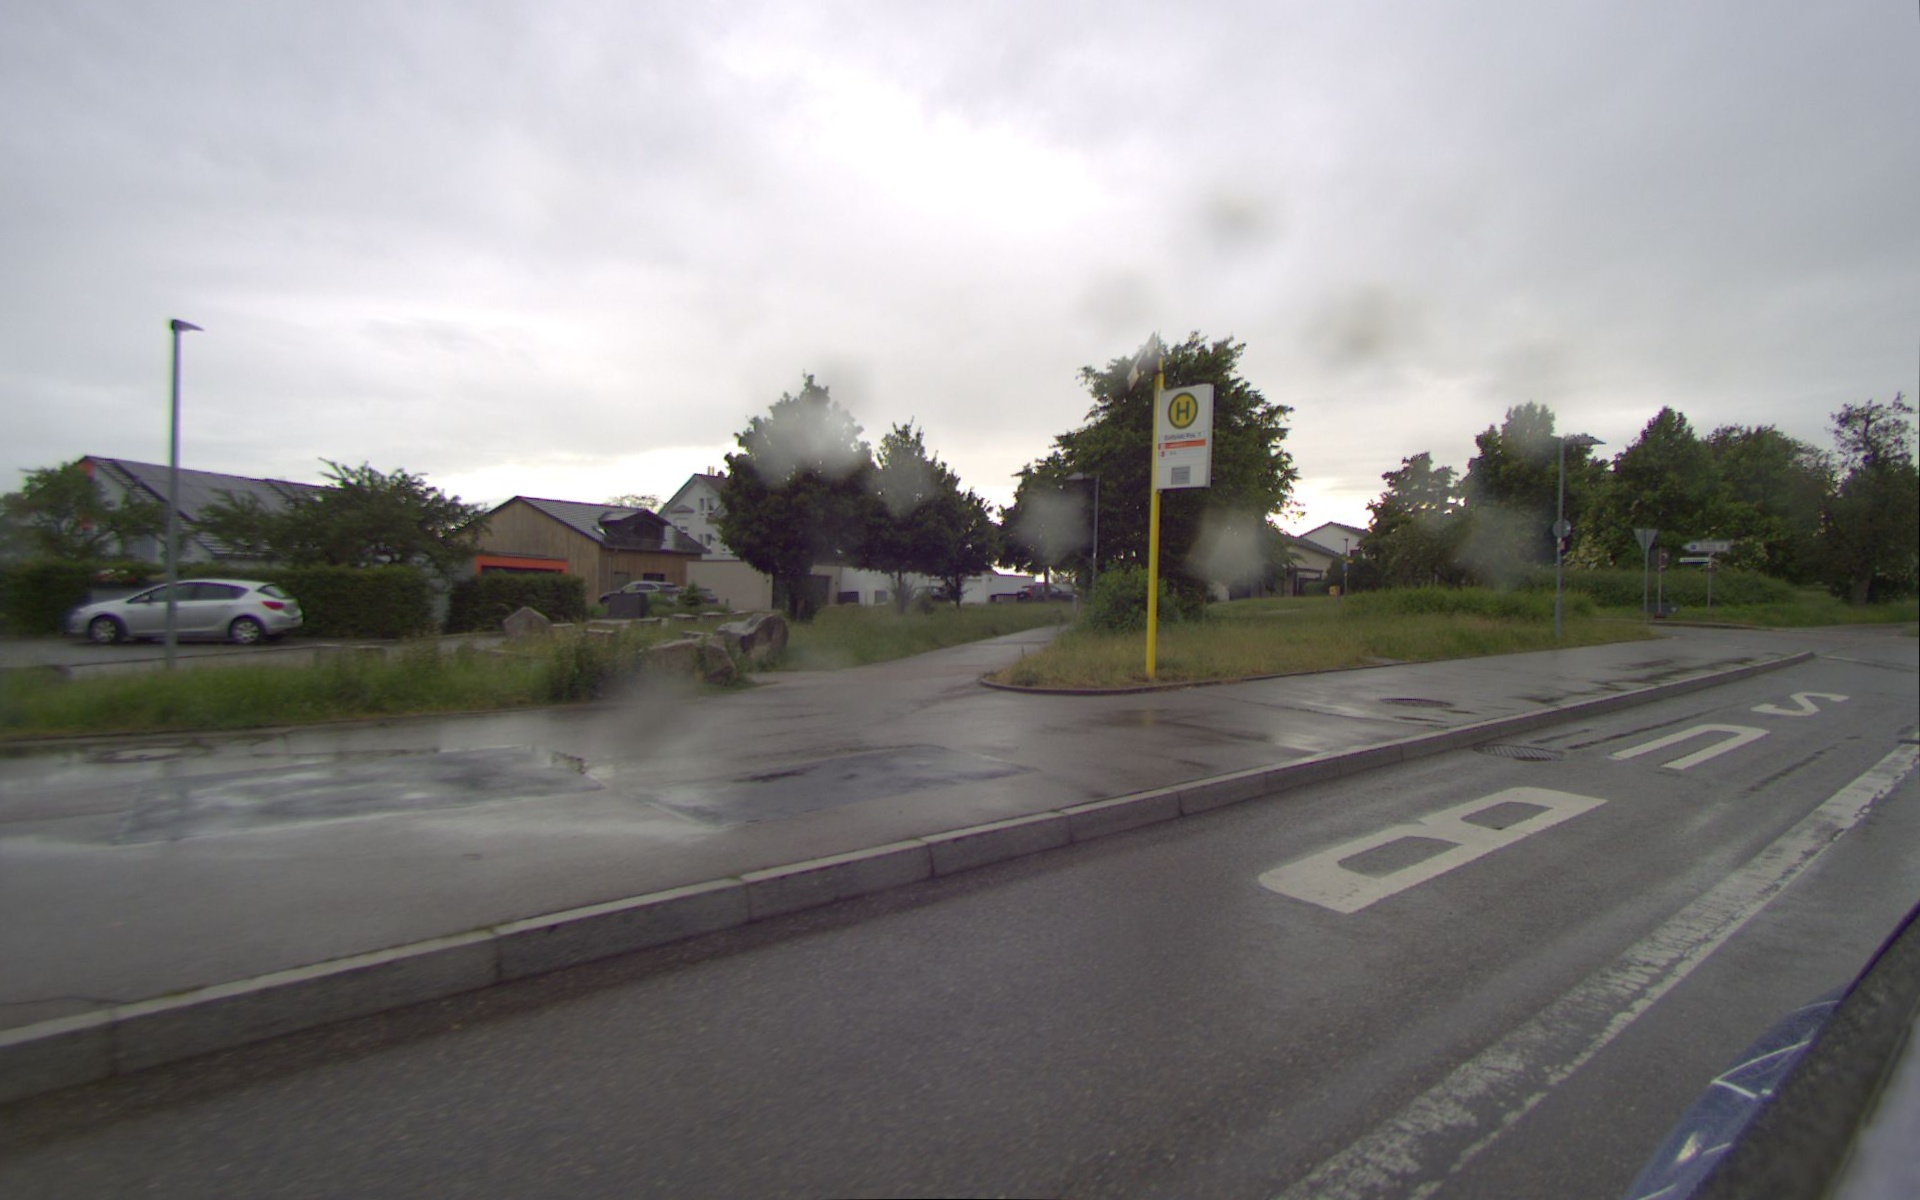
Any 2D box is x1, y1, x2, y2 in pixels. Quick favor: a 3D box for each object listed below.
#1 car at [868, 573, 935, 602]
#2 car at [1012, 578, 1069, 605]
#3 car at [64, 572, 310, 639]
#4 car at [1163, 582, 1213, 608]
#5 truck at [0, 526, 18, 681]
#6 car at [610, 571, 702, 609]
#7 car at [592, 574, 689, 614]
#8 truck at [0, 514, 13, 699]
[{"bbox_3d":[-3.574,-0.793,62.405,1.992,1.771,3.857,1,2,42],"label":"car"},{"bbox_3d":[5.638,-0.632,70.428,1.779,1.707,4.437,1,3,40],"label":"car"},{"bbox_3d":[-17.555,0.113,23.218,4.118,1.450,1.765,0,1,-17],"label":"car"},{"bbox_3d":[14.095,-0.314,62.752,1.778,1.522,3.617,0,1,-9],"label":"car"},{"bbox_3d":[-14.706,0.089,11.514,1.969,2.135,5.830,0,1,11],"label":"truck"},{"bbox_3d":[-15.174,-0.499,50.602,3.940,1.772,1.971,2,0,14],"label":"car"},{"bbox_3d":[-15.108,-0.295,47.897,3.940,1.772,1.971,2,0,14],"label":"car"},{"bbox_3d":[-14.719,0.192,11.548,1.968,2.556,5.621,0,2,11],"label":"truck"}]
